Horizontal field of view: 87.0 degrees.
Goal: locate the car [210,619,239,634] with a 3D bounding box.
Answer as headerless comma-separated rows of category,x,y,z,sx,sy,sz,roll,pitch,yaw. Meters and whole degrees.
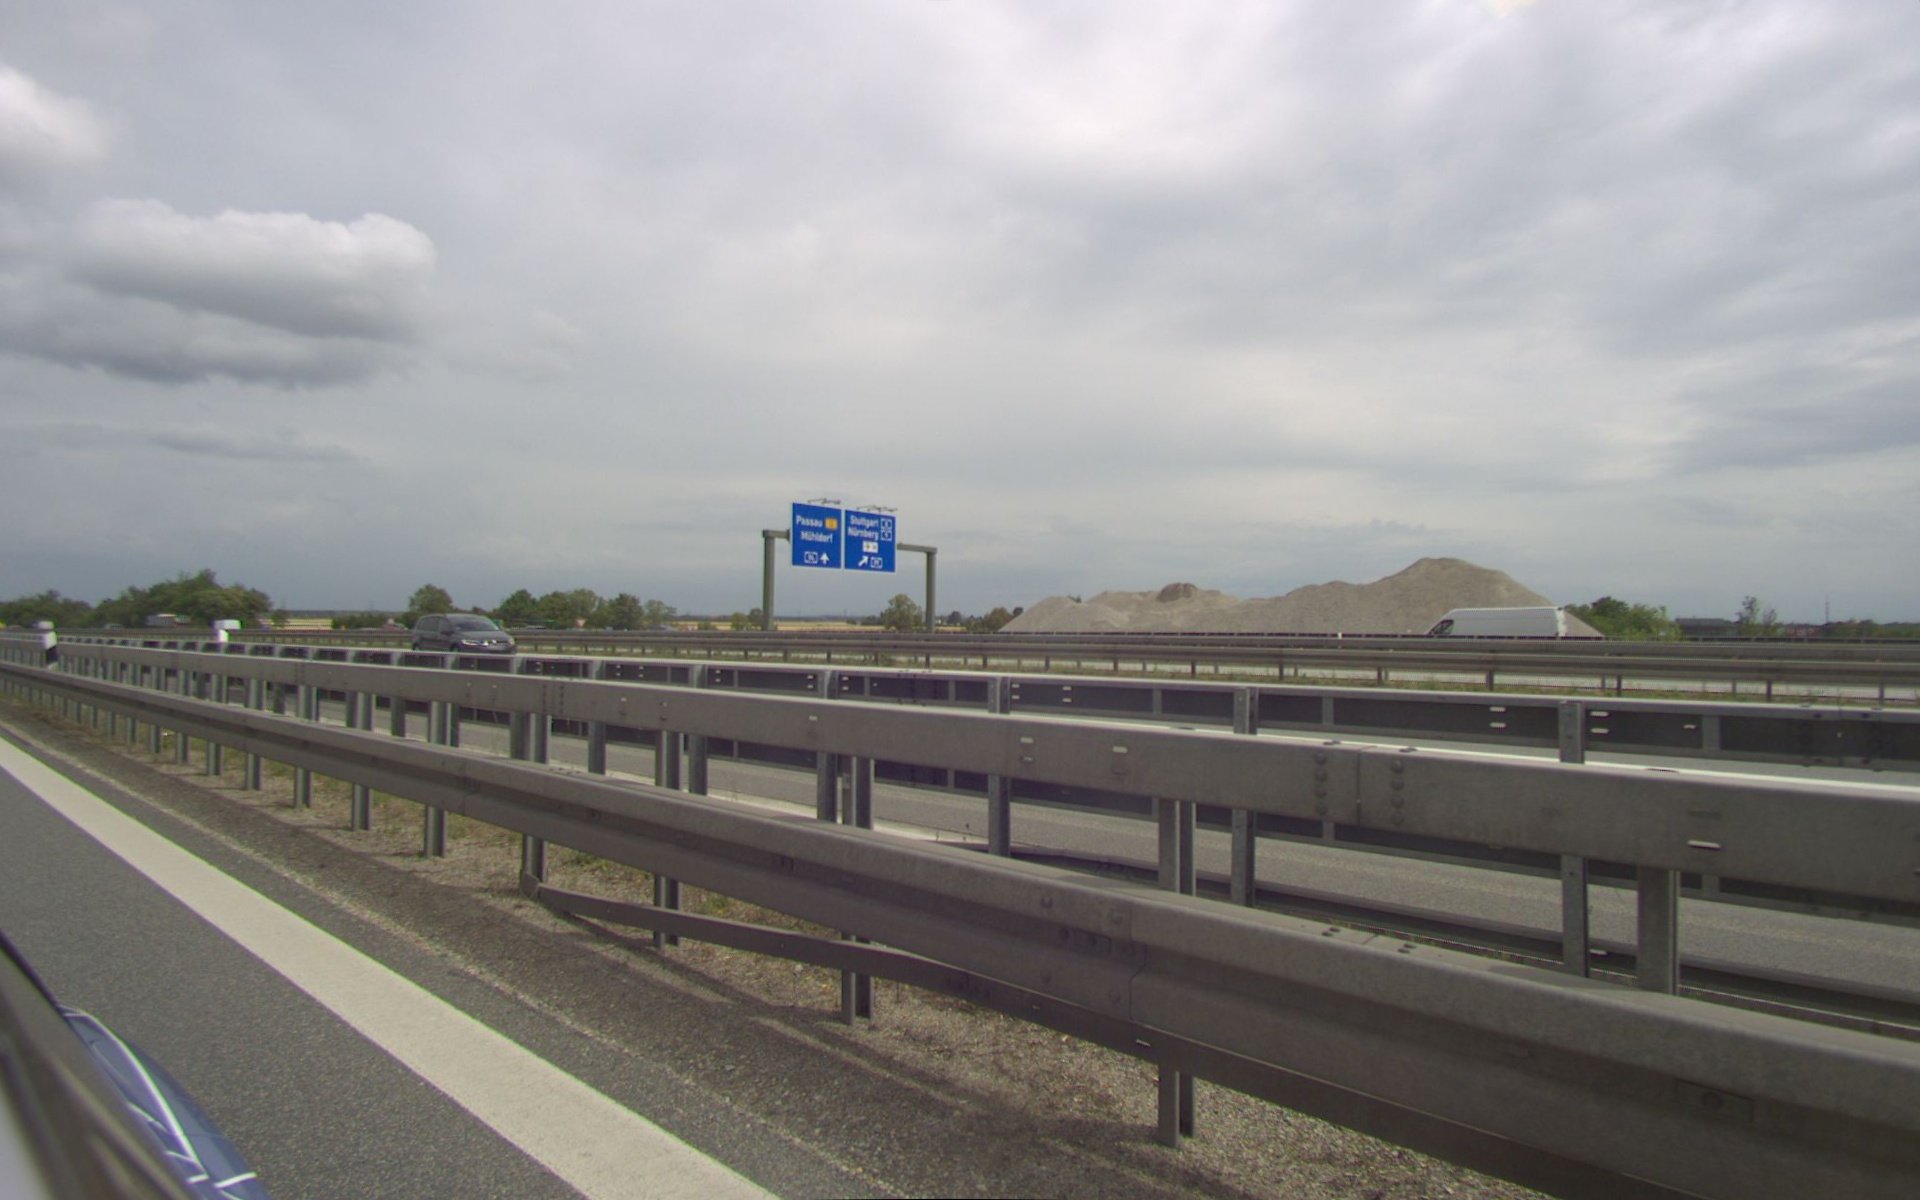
car,-99.891,3.601,137.362,4.745,1.874,2.080,-1,-1,39

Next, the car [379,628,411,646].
car,-60.246,3.903,107.929,3.999,1.874,1.779,-2,-1,42

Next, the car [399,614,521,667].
car,-16.331,1.284,32.972,4.611,1.558,1.862,-1,-1,40

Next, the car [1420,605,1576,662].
car,22.769,1.392,42.977,5.513,2.240,2.174,-2,-1,40

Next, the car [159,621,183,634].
car,-117.656,4.095,150.942,3.992,1.874,1.809,-1,-1,37
